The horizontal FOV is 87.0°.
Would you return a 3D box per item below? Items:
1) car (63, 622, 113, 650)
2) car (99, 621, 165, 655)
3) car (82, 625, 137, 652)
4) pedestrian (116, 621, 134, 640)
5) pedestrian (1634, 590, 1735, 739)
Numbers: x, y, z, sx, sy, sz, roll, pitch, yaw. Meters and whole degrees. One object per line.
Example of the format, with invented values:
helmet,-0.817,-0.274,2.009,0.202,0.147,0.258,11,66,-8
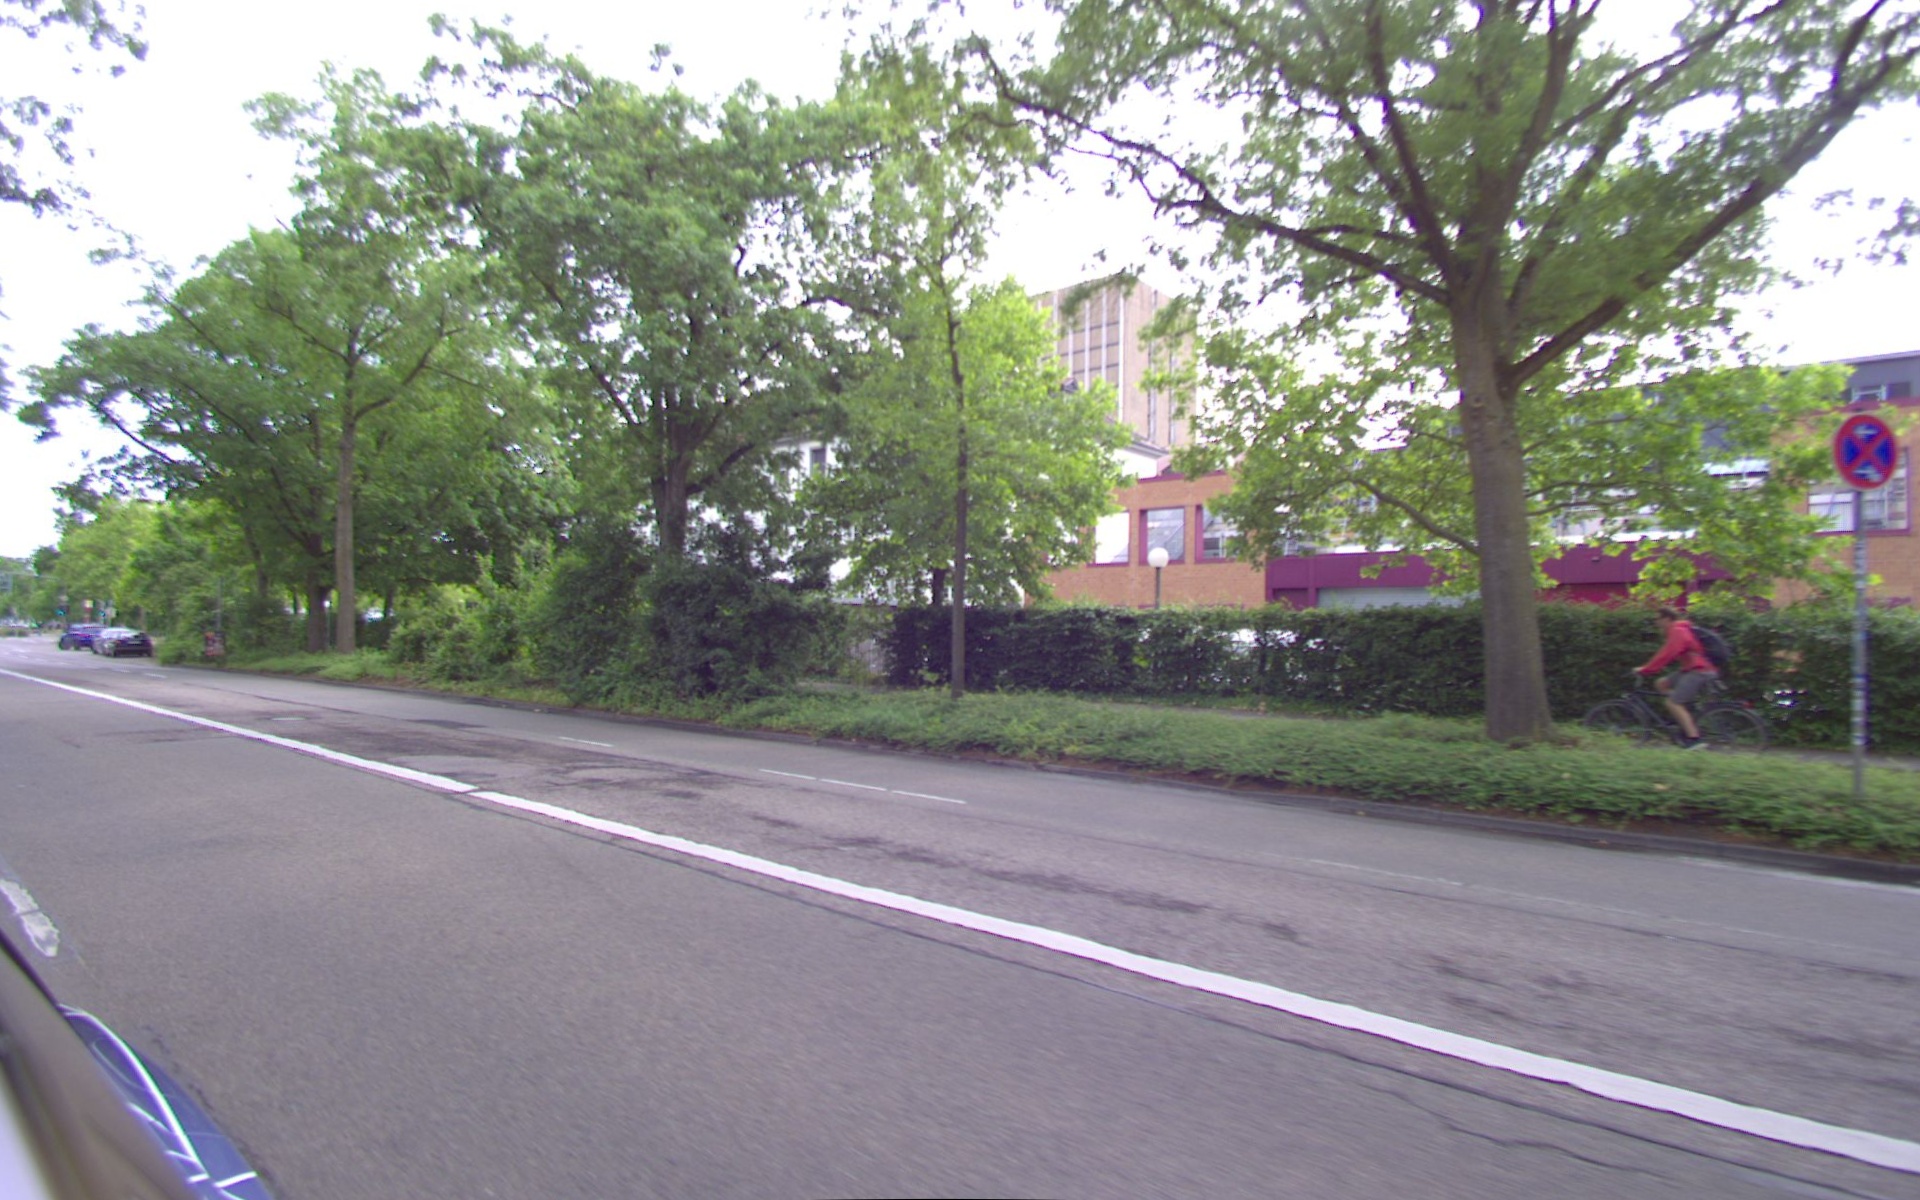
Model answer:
car,-53.698,2.194,62.301,4.592,1.620,1.839,-1,-2,43
car,-42.830,1.916,52.335,3.998,1.702,1.973,-1,-2,41
car,-47.063,2.124,55.965,4.730,1.435,1.852,-1,-3,45
pedestrian,-89.688,3.273,108.695,1.088,2.029,1.038,-1,-1,10
pedestrian,8.324,0.711,11.628,0.848,1.626,0.783,-1,-2,41
